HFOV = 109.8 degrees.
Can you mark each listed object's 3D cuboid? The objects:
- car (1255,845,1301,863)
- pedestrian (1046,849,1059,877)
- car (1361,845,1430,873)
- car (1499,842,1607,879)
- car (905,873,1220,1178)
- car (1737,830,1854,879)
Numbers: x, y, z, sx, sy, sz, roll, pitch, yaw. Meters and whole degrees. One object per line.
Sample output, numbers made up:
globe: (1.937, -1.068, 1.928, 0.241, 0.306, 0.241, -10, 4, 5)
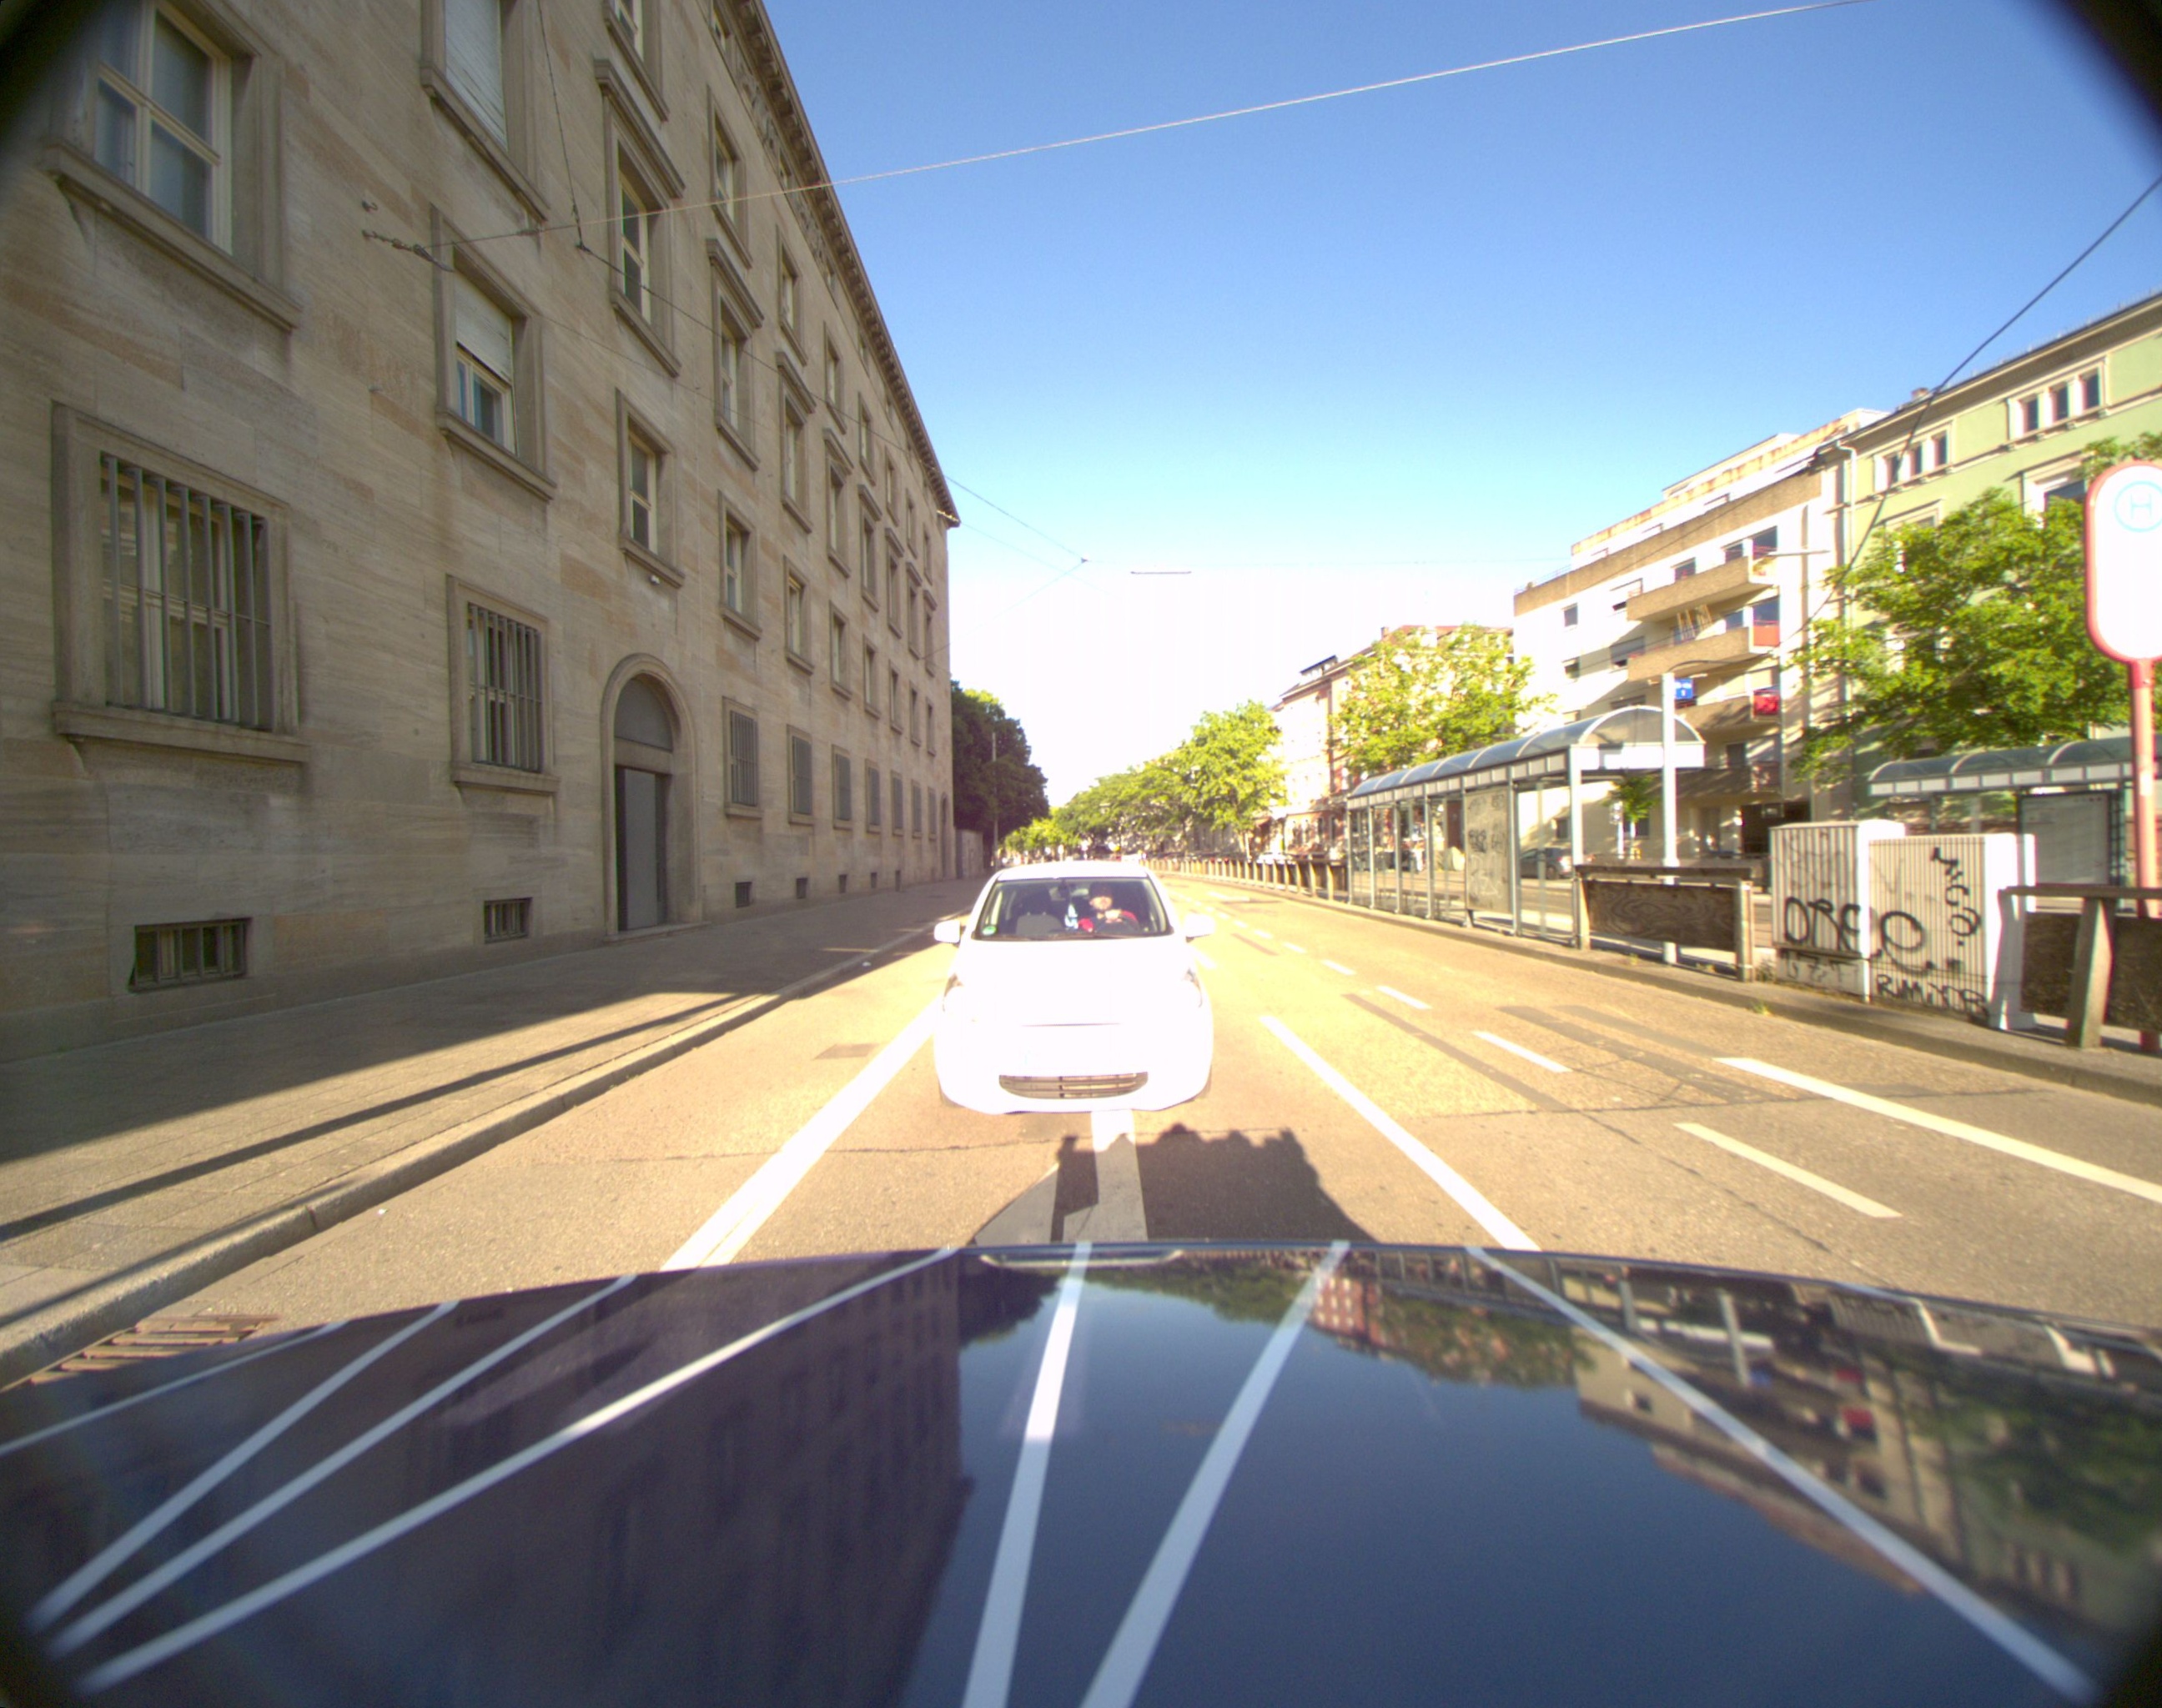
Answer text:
car: (16.441, -0.001, 63.360, 3.648, 1.342, 1.578, -2, 1, -29)
pedestrian: (-1.735, 0.559, 46.545, 0.686, 1.673, 0.928, -1, 1, 1)
car: (18.363, 0.276, 44.607, 2.000, 1.521, 3.997, -1, 0, -8)
car: (21.041, 0.274, 34.102, 2.000, 1.521, 3.997, 0, 0, -8)
car: (-0.071, 0.943, 5.774, 1.606, 1.455, 3.621, -1, 0, 1)
car: (31.251, 0.004, 33.257, 4.001, 2.002, 1.798, -1, 1, -13)
